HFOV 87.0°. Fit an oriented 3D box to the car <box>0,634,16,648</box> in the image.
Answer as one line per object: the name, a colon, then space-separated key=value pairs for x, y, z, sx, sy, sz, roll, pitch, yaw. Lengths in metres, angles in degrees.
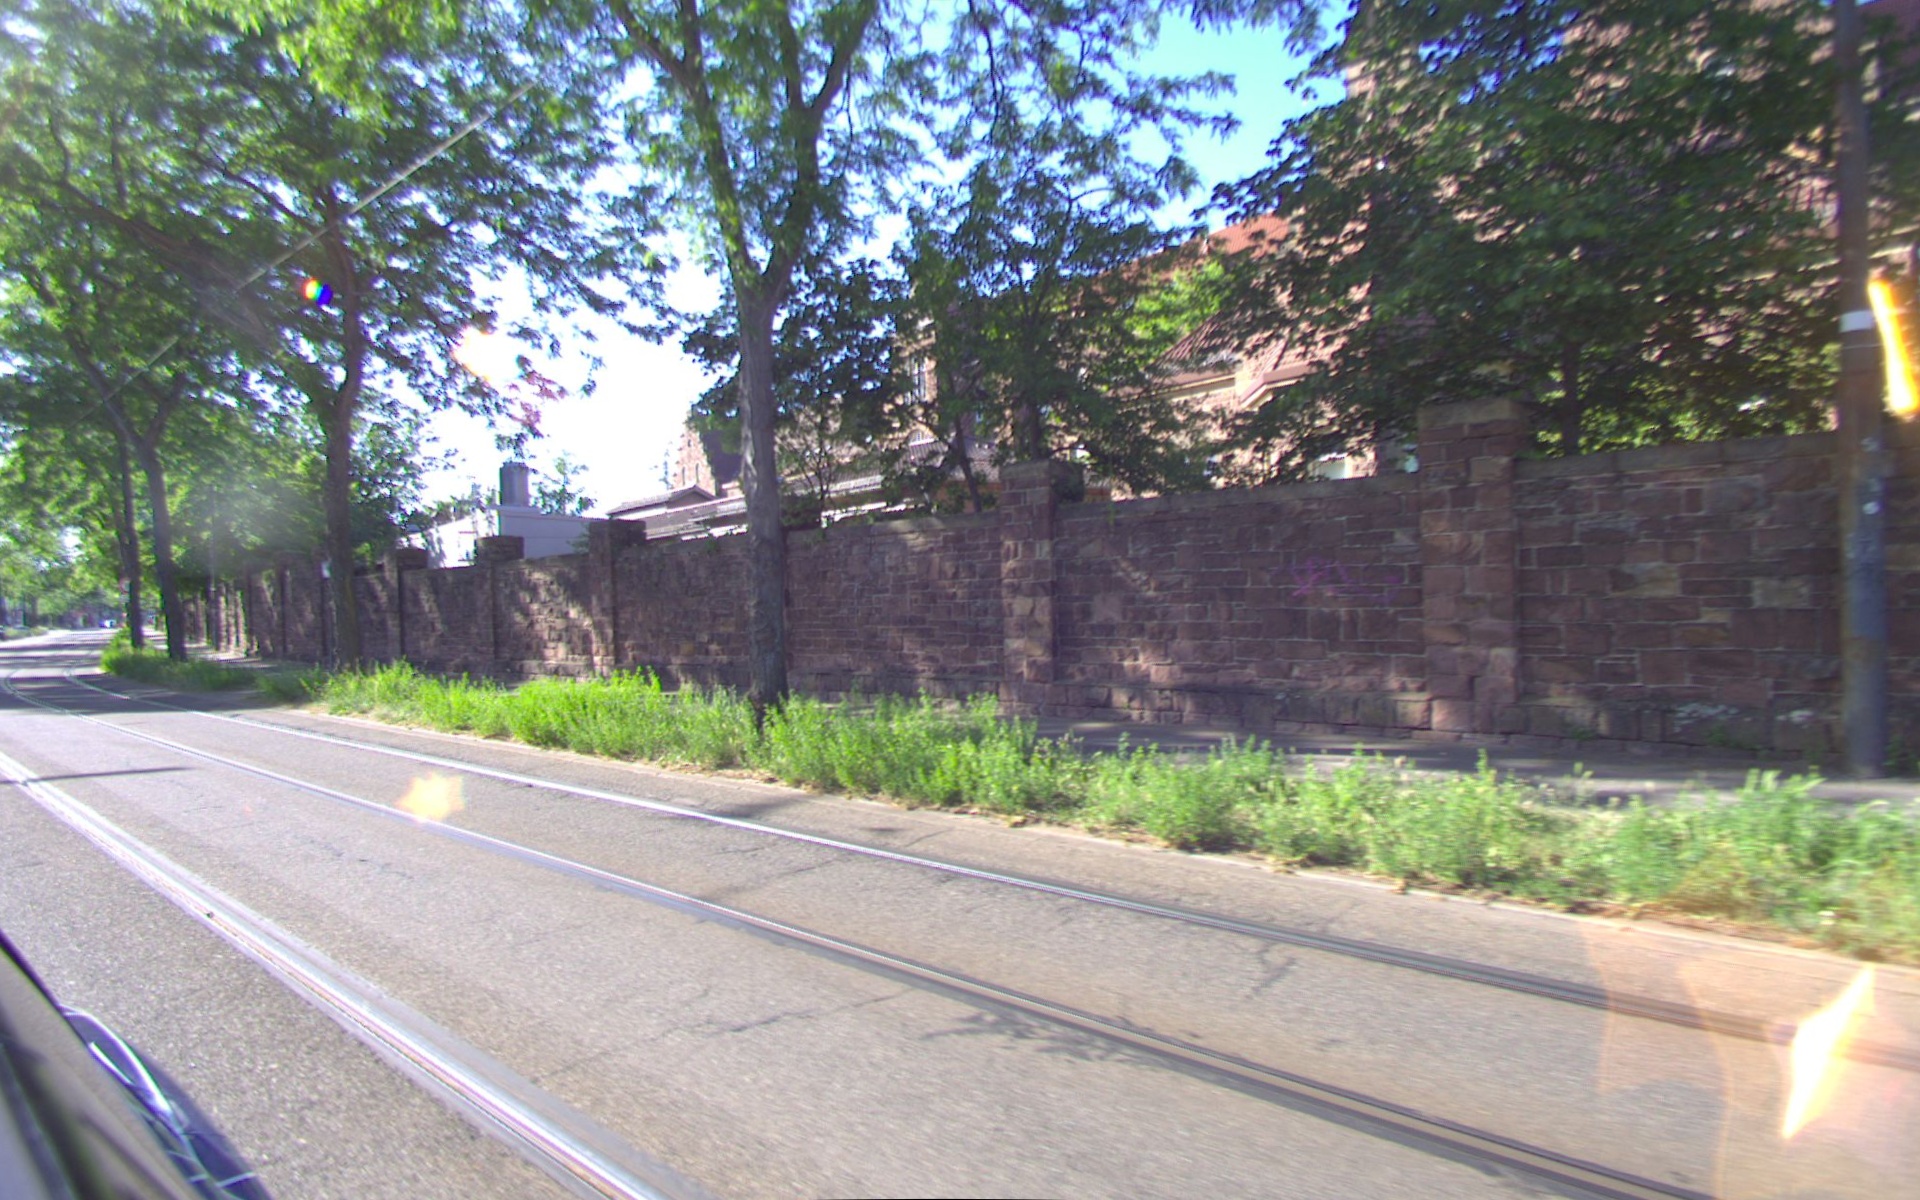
car: x=-111.061 y=4.741 z=117.347 sx=1.968 sy=1.429 sz=4.007 roll=-2 pitch=2 yaw=-39

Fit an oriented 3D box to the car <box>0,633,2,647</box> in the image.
car: x=-103.683 y=4.271 z=107.898 sx=1.968 sy=1.494 sz=4.007 roll=-2 pitch=0 yaw=-39
